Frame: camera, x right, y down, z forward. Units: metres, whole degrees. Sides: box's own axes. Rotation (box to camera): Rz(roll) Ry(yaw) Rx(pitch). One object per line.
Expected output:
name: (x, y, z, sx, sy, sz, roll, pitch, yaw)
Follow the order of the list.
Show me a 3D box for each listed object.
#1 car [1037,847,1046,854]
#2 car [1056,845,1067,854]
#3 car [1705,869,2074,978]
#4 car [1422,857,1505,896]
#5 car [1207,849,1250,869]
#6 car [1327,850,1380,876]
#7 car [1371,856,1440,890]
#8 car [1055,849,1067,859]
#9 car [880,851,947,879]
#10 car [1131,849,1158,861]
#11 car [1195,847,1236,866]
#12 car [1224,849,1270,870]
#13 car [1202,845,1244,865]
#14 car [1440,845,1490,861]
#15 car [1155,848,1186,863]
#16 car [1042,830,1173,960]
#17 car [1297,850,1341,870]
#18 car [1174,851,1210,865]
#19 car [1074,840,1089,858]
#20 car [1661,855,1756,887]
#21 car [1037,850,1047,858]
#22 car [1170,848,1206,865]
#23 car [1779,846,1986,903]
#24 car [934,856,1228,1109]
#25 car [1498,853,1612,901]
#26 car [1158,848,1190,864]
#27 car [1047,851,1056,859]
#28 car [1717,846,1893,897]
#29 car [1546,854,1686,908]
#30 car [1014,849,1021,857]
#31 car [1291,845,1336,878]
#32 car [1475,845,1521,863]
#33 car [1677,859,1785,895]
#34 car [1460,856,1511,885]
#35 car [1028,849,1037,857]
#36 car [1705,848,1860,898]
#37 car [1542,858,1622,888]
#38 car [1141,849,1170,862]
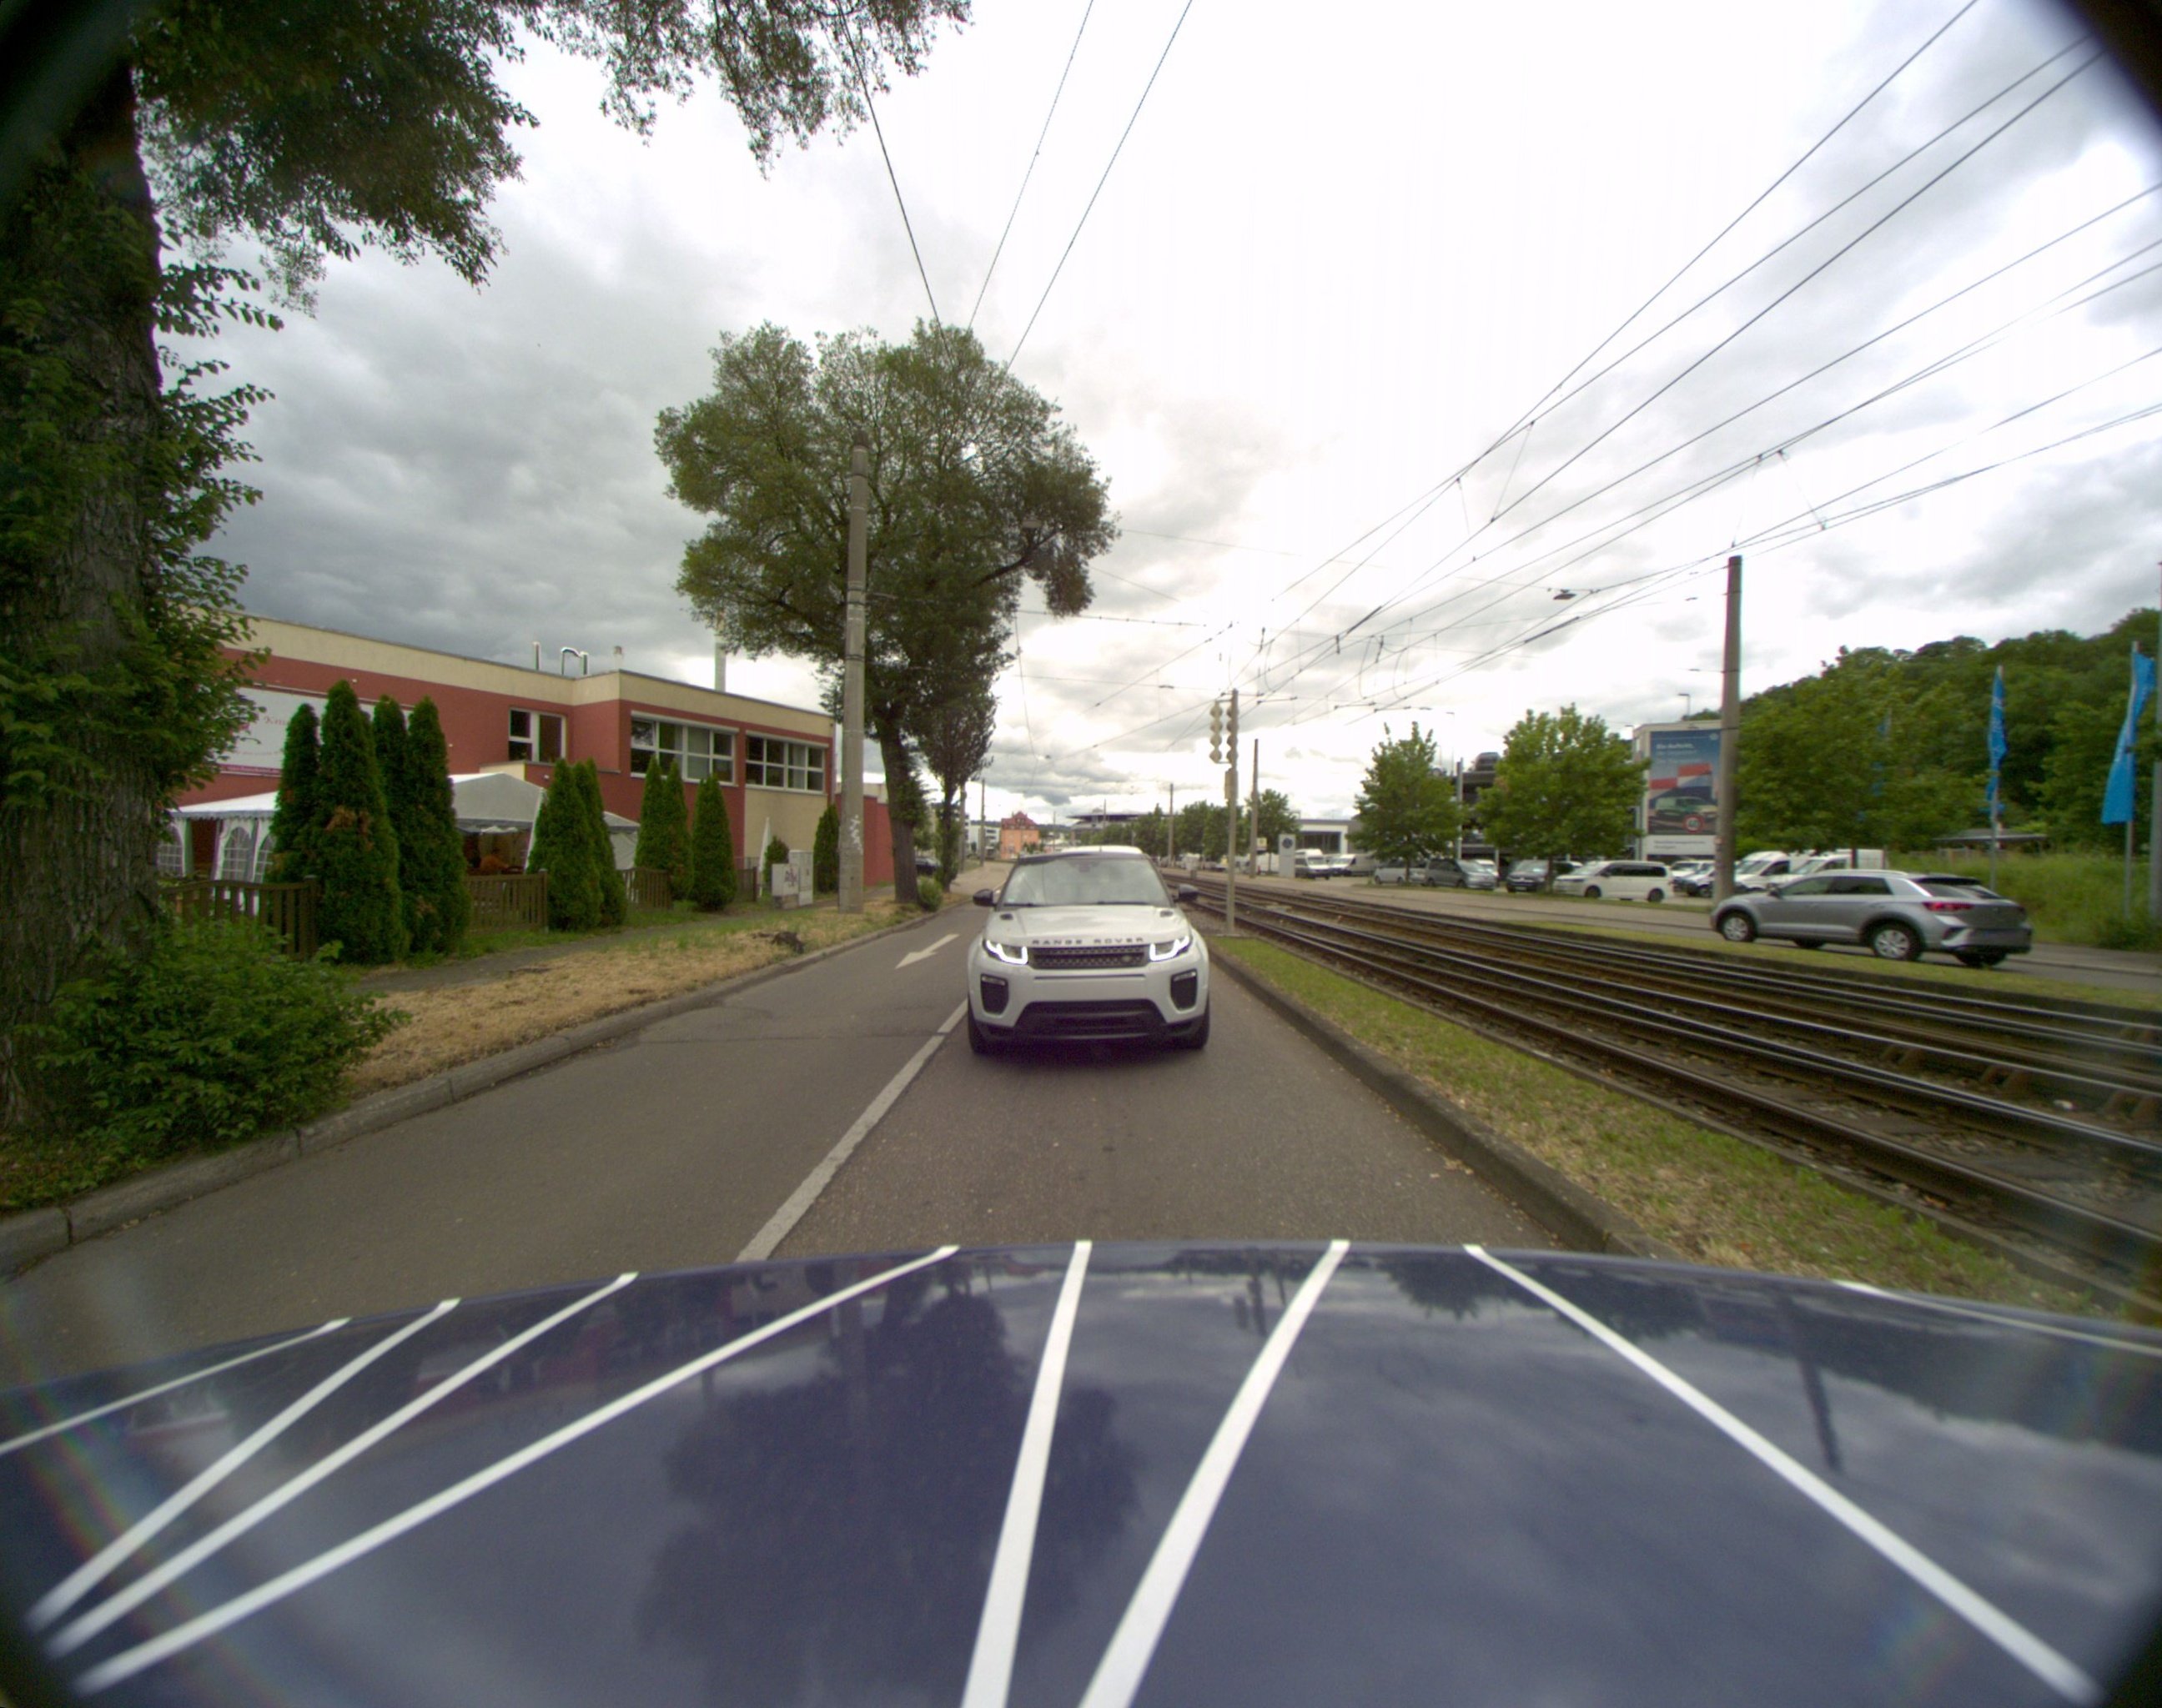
car: (-10.633, -0.976, 205.071, 2.000, 2.002, 3.997, -2, 1, -7)
car: (-4.634, -1.060, 178.512, 2.000, 2.002, 3.997, -2, 1, -7)
car: (14.062, 1.111, 13.673, 2.000, 1.569, 4.175, 1, 0, -6)
car: (22.967, 1.272, 45.871, 2.142, 2.104, 4.773, -2, 1, -7)
car: (17.700, 0.599, 91.175, 4.639, 2.196, 2.107, -2, 1, -8)
car: (30.327, 0.967, 84.563, 6.057, 2.608, 2.316, -3, 1, -34)
car: (22.130, 1.239, 52.103, 2.142, 2.104, 4.772, -2, 1, -8)
car: (-4.140, 0.057, 158.351, 2.000, 2.002, 3.997, -2, 1, -7)
car: (-10.912, 0.688, 49.693, 3.999, 1.636, 1.895, -2, 1, -6)
car: (11.848, 0.181, 141.319, 4.639, 2.196, 2.107, -2, 1, -8)
car: (17.072, 0.314, 96.395, 4.639, 2.196, 2.107, -2, 1, -8)
car: (18.787, 0.583, 86.089, 4.639, 2.196, 2.107, -2, 1, -8)
car: (17.492, 0.133, 93.610, 4.639, 2.196, 2.107, -2, 1, -8)
car: (46.340, -0.118, 91.798, 5.216, 1.826, 1.983, -2, 1, 21)
car: (14.484, 0.286, 122.920, 4.639, 2.196, 2.107, -2, 1, -8)
car: (0.392, 0.609, 14.140, 1.999, 1.990, 5.033, 0, 1, 0)
car: (29.121, 0.713, 93.026, 4.636, 2.196, 2.108, -2, 1, -1)
car: (15.768, 0.587, 108.137, 4.639, 1.829, 2.107, -2, 1, -8)
car: (0.032, -0.914, 136.688, 2.410, 2.931, 4.747, -2, 1, -2)
car: (39.878, 1.081, 48.396, 4.228, 1.826, 1.983, -2, 1, 19)
car: (-9.363, -0.010, 182.931, 2.000, 2.002, 3.997, -2, 1, -7)
car: (15.542, 0.385, 110.541, 4.639, 2.196, 2.107, -2, 1, -8)
car: (34.677, 0.908, 33.126, 5.850, 2.254, 2.056, -2, 1, 22)
car: (0.000, 0.889, 7.316, 1.998, 1.680, 4.268, 0, 1, 0)
car: (24.682, 1.170, 39.667, 4.774, 2.254, 1.979, -2, 1, -3)
car: (14.761, 0.303, 120.485, 4.639, 2.196, 2.107, -2, 1, -8)
car: (-7.547, 0.296, 192.331, 2.000, 2.002, 3.997, -2, 1, -7)
car: (34.959, 0.854, 36.922, 5.839, 2.254, 2.056, -2, 1, 22)
car: (25.268, 1.237, 35.998, 5.269, 2.254, 1.999, -2, 1, -3)
car: (-18.443, -0.327, 220.748, 2.000, 2.002, 3.997, -2, 1, -7)
car: (22.405, 0.670, 73.593, 2.320, 2.994, 6.157, -2, 1, 0)
car: (47.143, -0.034, 85.966, 4.227, 1.826, 1.983, -2, 1, 21)
car: (36.659, 1.281, 42.984, 4.228, 1.826, 1.983, -2, 1, 19)
car: (28.883, 1.144, 54.408, 1.900, 1.882, 4.600, -2, 1, 12)
car: (-12.634, -0.315, 195.975, 2.000, 2.002, 3.997, -2, 1, -7)
car: (36.710, 1.003, 39.944, 5.652, 2.446, 1.983, -2, 1, 19)
car: (34.402, 1.297, 52.315, 4.228, 1.826, 1.983, -2, 1, 19)
car: (13.014, 0.231, 132.837, 4.639, 2.196, 2.107, -2, 1, -8)
